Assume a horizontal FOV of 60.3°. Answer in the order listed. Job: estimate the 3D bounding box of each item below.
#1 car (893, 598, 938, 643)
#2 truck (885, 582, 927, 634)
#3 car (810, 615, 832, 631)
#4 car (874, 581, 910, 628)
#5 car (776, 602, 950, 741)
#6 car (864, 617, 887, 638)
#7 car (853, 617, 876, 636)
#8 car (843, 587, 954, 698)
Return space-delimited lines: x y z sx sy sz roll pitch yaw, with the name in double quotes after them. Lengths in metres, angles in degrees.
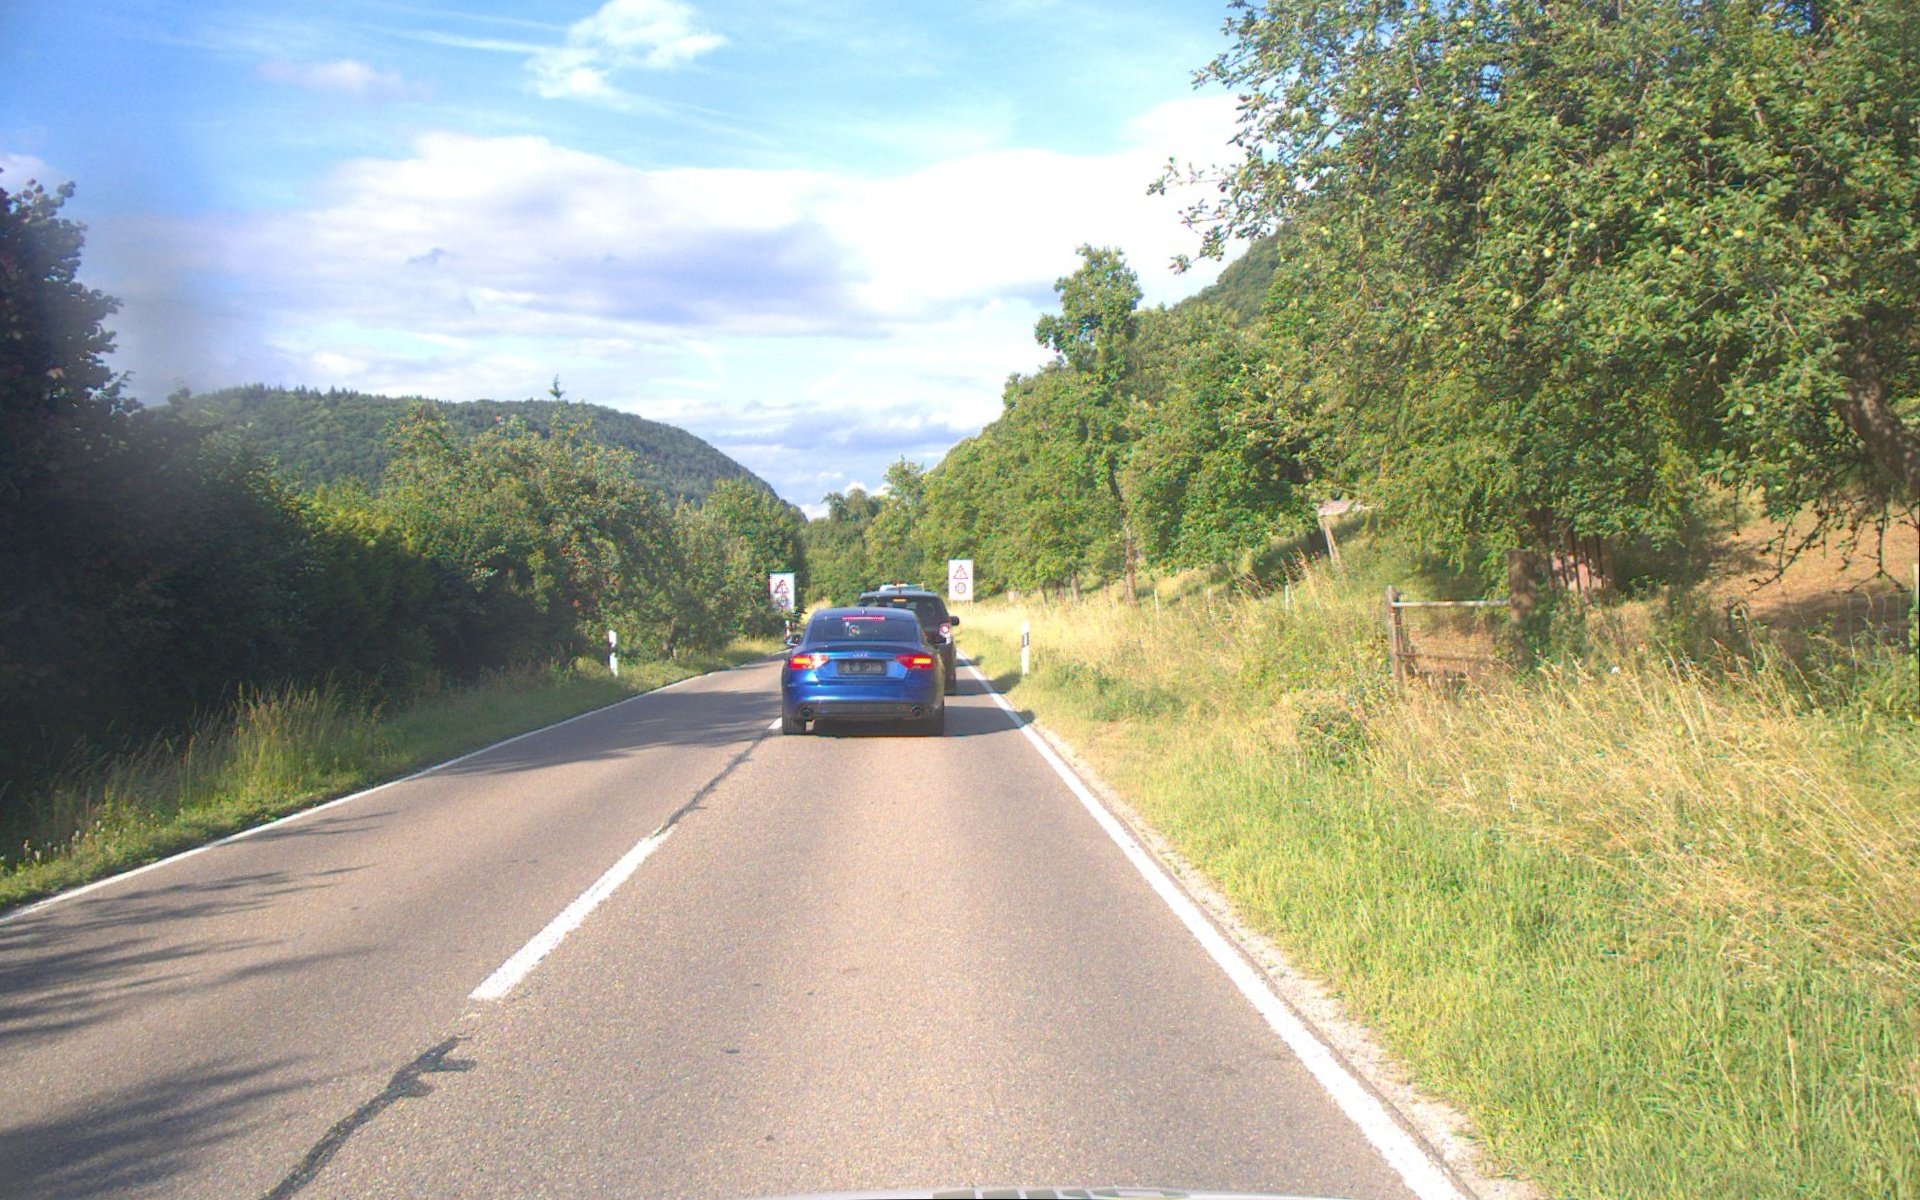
-1.716 0.759 62.841 1.659 1.652 3.787 0 0 -2 "car"
-2.663 0.368 79.985 1.911 2.386 5.091 1 0 -3 "truck"
-13.727 2.286 162.889 1.532 1.522 3.764 1 0 -14 "car"
-3.725 0.230 90.295 1.757 2.496 3.915 1 0 -5 "car"
-1.051 0.749 19.039 1.769 1.406 4.213 -1 0 -2 "car"
-6.540 2.102 127.913 1.529 1.522 3.773 1 0 -6 "car"
-8.033 2.245 138.784 1.530 1.522 3.768 1 0 -10 "car"
-0.996 0.630 26.674 1.659 1.652 3.787 0 0 -2 "car"
